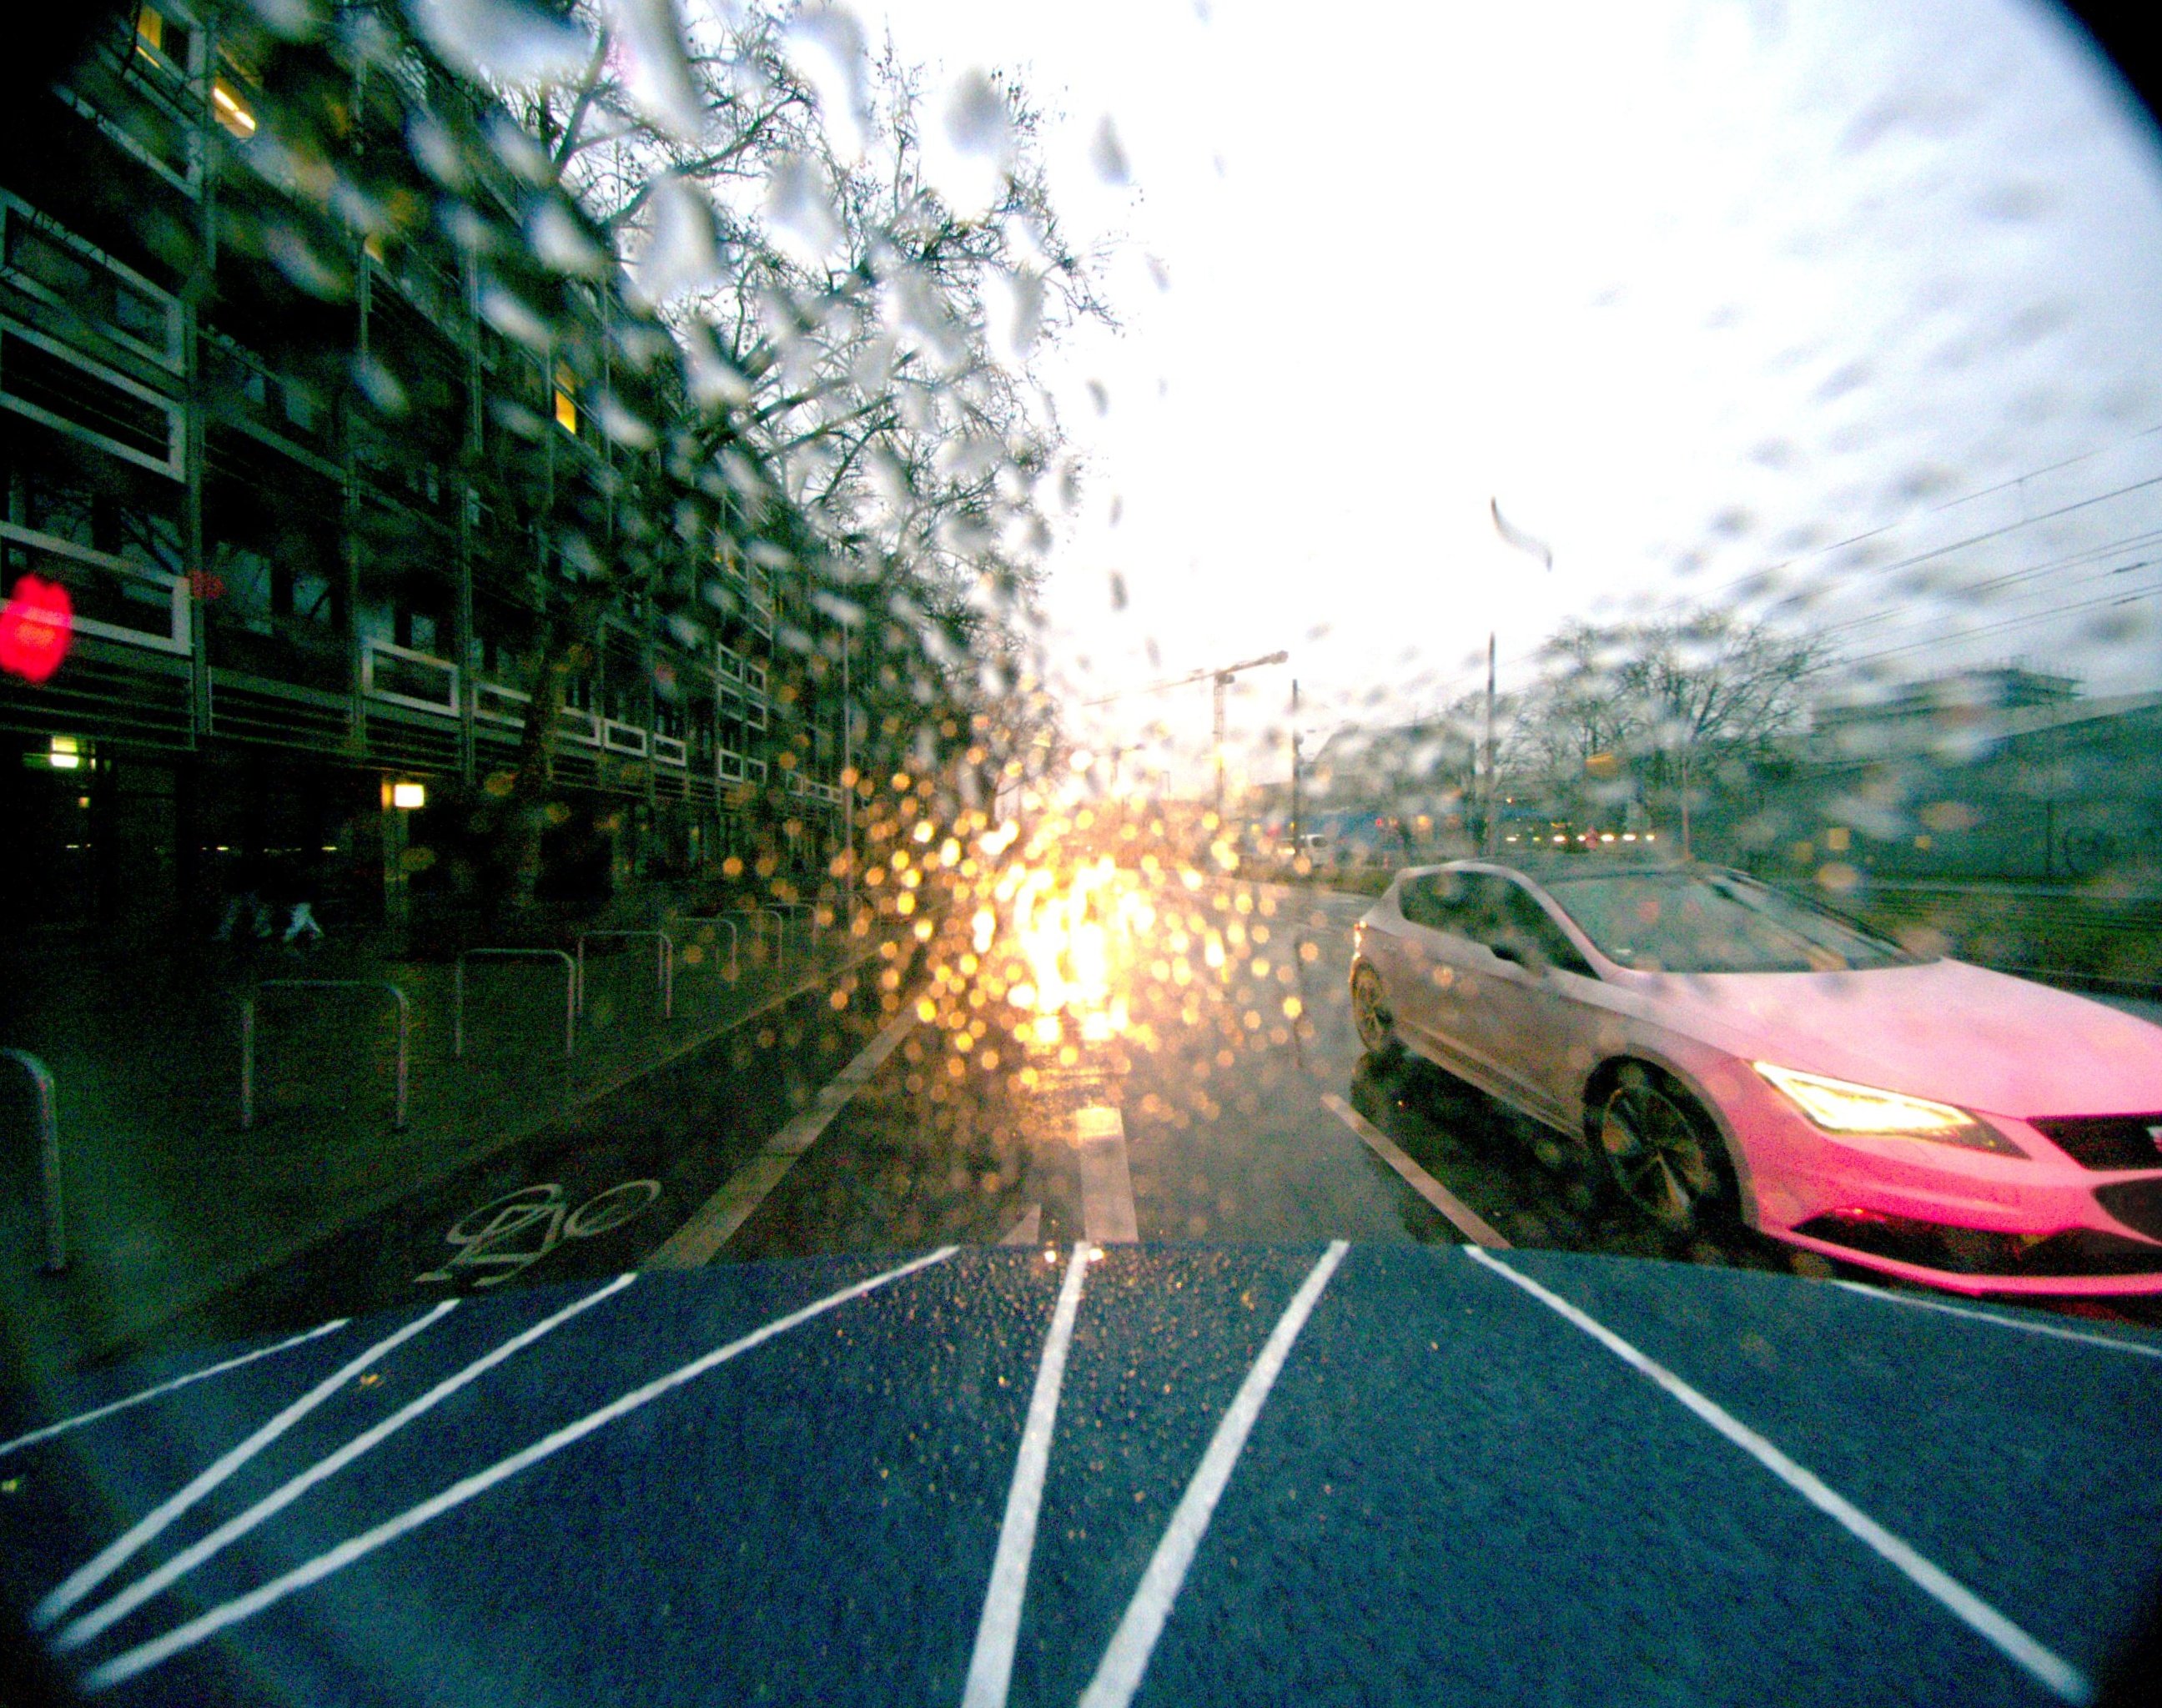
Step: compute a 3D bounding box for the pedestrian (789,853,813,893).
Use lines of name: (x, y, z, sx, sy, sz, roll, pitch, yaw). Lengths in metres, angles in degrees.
pedestrian: (-10.865, 0.725, 29.495, 0.649, 1.535, 0.615, 0, 1, 1)

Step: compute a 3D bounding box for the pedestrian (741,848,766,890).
pedestrian: (-13.024, 0.604, 30.194, 0.617, 1.647, 0.780, -1, 1, 1)

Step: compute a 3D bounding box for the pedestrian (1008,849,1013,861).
pedestrian: (-12.404, 0.188, 133.689, 0.838, 2.002, 0.771, -2, 2, -1)

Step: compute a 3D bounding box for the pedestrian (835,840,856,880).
pedestrian: (-11.654, 0.292, 37.625, 0.822, 2.002, 0.735, -1, 1, -2)

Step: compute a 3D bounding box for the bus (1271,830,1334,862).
bus: (25.992, -0.919, 89.990, 2.815, 3.557, 12.298, -1, 0, -6)

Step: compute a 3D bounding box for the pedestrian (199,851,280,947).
pedestrian: (-14.063, 0.734, 12.715, 0.484, 1.555, 0.745, -1, 1, -1)

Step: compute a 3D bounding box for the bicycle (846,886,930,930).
bicycle: (-4.452, 1.248, 17.595, 1.792, 0.968, 0.617, 1, 1, -4)

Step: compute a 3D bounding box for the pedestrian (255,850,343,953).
pedestrian: (-12.976, 0.764, 12.631, 0.501, 1.658, 0.873, 0, 1, 1)

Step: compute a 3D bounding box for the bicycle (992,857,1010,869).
bicycle: (-7.212, 0.826, 68.285, 1.523, 1.030, 0.469, -2, 2, -7)

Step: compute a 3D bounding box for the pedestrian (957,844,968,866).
pedestrian: (-10.786, 0.091, 69.115, 0.791, 2.002, 1.024, -1, 1, 0)

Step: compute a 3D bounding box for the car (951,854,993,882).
car: (-6.174, 0.785, 43.363, 1.608, 1.424, 3.930, 2, 1, 2)

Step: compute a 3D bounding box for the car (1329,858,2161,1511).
car: (2.941, 0.820, 3.943, 1.778, 1.466, 4.128, -3, 1, -2)

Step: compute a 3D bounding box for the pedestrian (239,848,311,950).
pedestrian: (-13.454, 0.730, 12.699, 0.379, 1.658, 0.713, 0, 1, 1)

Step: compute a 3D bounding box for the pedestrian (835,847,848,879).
pedestrian: (-12.758, 0.464, 40.496, 0.661, 1.708, 0.841, -1, 1, -17)

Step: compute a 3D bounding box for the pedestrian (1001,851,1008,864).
pedestrian: (-11.345, 0.513, 112.628, 0.838, 2.002, 0.771, -2, 2, -1)

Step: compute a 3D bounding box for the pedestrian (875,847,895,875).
pedestrian: (-10.979, 0.383, 42.597, 0.866, 1.515, 0.837, -1, 1, -2)

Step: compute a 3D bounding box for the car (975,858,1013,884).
car: (-5.849, 1.123, 51.303, 1.998, 1.477, 3.999, -2, 1, 1)

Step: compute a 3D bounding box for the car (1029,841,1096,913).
car: (-0.486, 0.630, 23.160, 1.858, 2.002, 4.000, -1, 0, 1)

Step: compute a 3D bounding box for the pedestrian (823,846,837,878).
pedestrian: (-13.104, 0.405, 39.597, 0.642, 1.645, 0.841, -1, 1, -21)
